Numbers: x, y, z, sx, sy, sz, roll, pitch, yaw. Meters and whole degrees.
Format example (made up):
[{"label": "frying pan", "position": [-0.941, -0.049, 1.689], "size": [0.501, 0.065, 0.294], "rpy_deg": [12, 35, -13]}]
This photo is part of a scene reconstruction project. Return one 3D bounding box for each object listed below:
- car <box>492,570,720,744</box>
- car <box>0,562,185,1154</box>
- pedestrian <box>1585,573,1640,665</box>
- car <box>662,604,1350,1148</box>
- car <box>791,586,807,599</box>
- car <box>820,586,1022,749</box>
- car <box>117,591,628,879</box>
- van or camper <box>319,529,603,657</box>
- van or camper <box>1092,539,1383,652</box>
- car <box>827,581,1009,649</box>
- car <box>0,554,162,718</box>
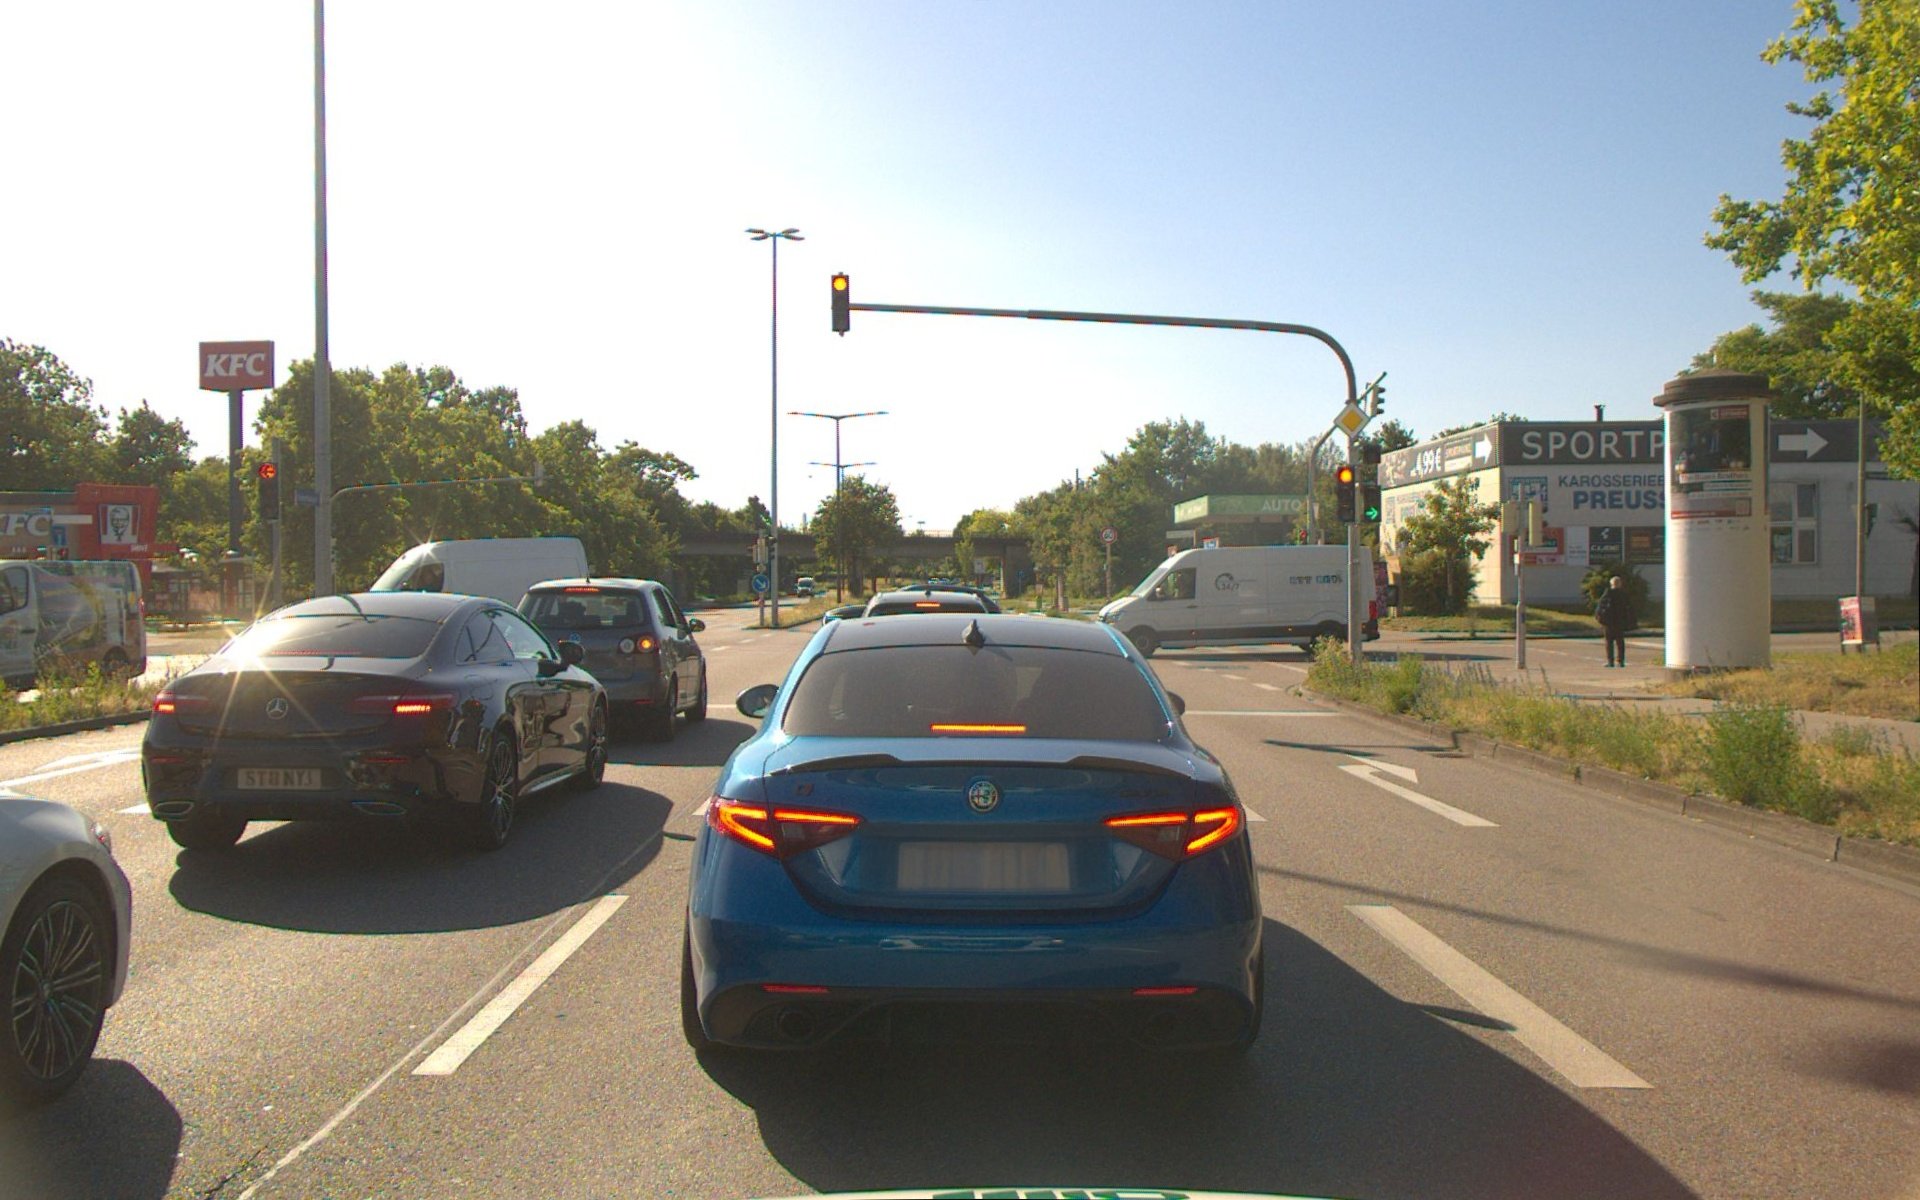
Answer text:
[{"label": "car", "position": [-3.605, 0.521, 17.479], "size": [1.615, 1.626, 3.931], "rpy_deg": [0, 0, -1]}, {"label": "car", "position": [-3.340, 0.680, 3.095], "size": [1.732, 1.535, 4.460], "rpy_deg": [0, 0, -1]}, {"label": "pedestrian", "position": [12.639, 0.354, 32.051], "size": [0.805, 1.752, 0.854], "rpy_deg": [0, 0, 6]}, {"label": "car", "position": [0.099, 0.745, 6.382], "size": [1.828, 1.409, 3.931], "rpy_deg": [0, 0, -1]}, {"label": "car", "position": [-20.516, -0.958, 210.801], "size": [1.786, 1.723, 3.834], "rpy_deg": [0, 0, -4]}, {"label": "car", "position": [-0.384, 0.606, 17.053], "size": [1.828, 1.475, 3.931], "rpy_deg": [0, 0, -1]}, {"label": "car", "position": [-3.405, 0.666, 10.568], "size": [1.732, 1.439, 4.460], "rpy_deg": [0, 0, -1]}, {"label": "van or camper", "position": [-11.232, -0.169, 37.516], "size": [5.894, 2.697, 1.973], "rpy_deg": [0, 0, -38]}, {"label": "van or camper", "position": [6.564, -0.110, 39.592], "size": [6.595, 2.617, 2.184], "rpy_deg": [0, 0, -2]}, {"label": "car", "position": [-1.053, 0.353, 42.016], "size": [4.506, 1.682, 1.999], "rpy_deg": [0, 0, -2]}, {"label": "car", "position": [-12.919, 0.491, 21.789], "size": [1.951, 2.048, 5.029], "rpy_deg": [-3, 0, 5]}]
